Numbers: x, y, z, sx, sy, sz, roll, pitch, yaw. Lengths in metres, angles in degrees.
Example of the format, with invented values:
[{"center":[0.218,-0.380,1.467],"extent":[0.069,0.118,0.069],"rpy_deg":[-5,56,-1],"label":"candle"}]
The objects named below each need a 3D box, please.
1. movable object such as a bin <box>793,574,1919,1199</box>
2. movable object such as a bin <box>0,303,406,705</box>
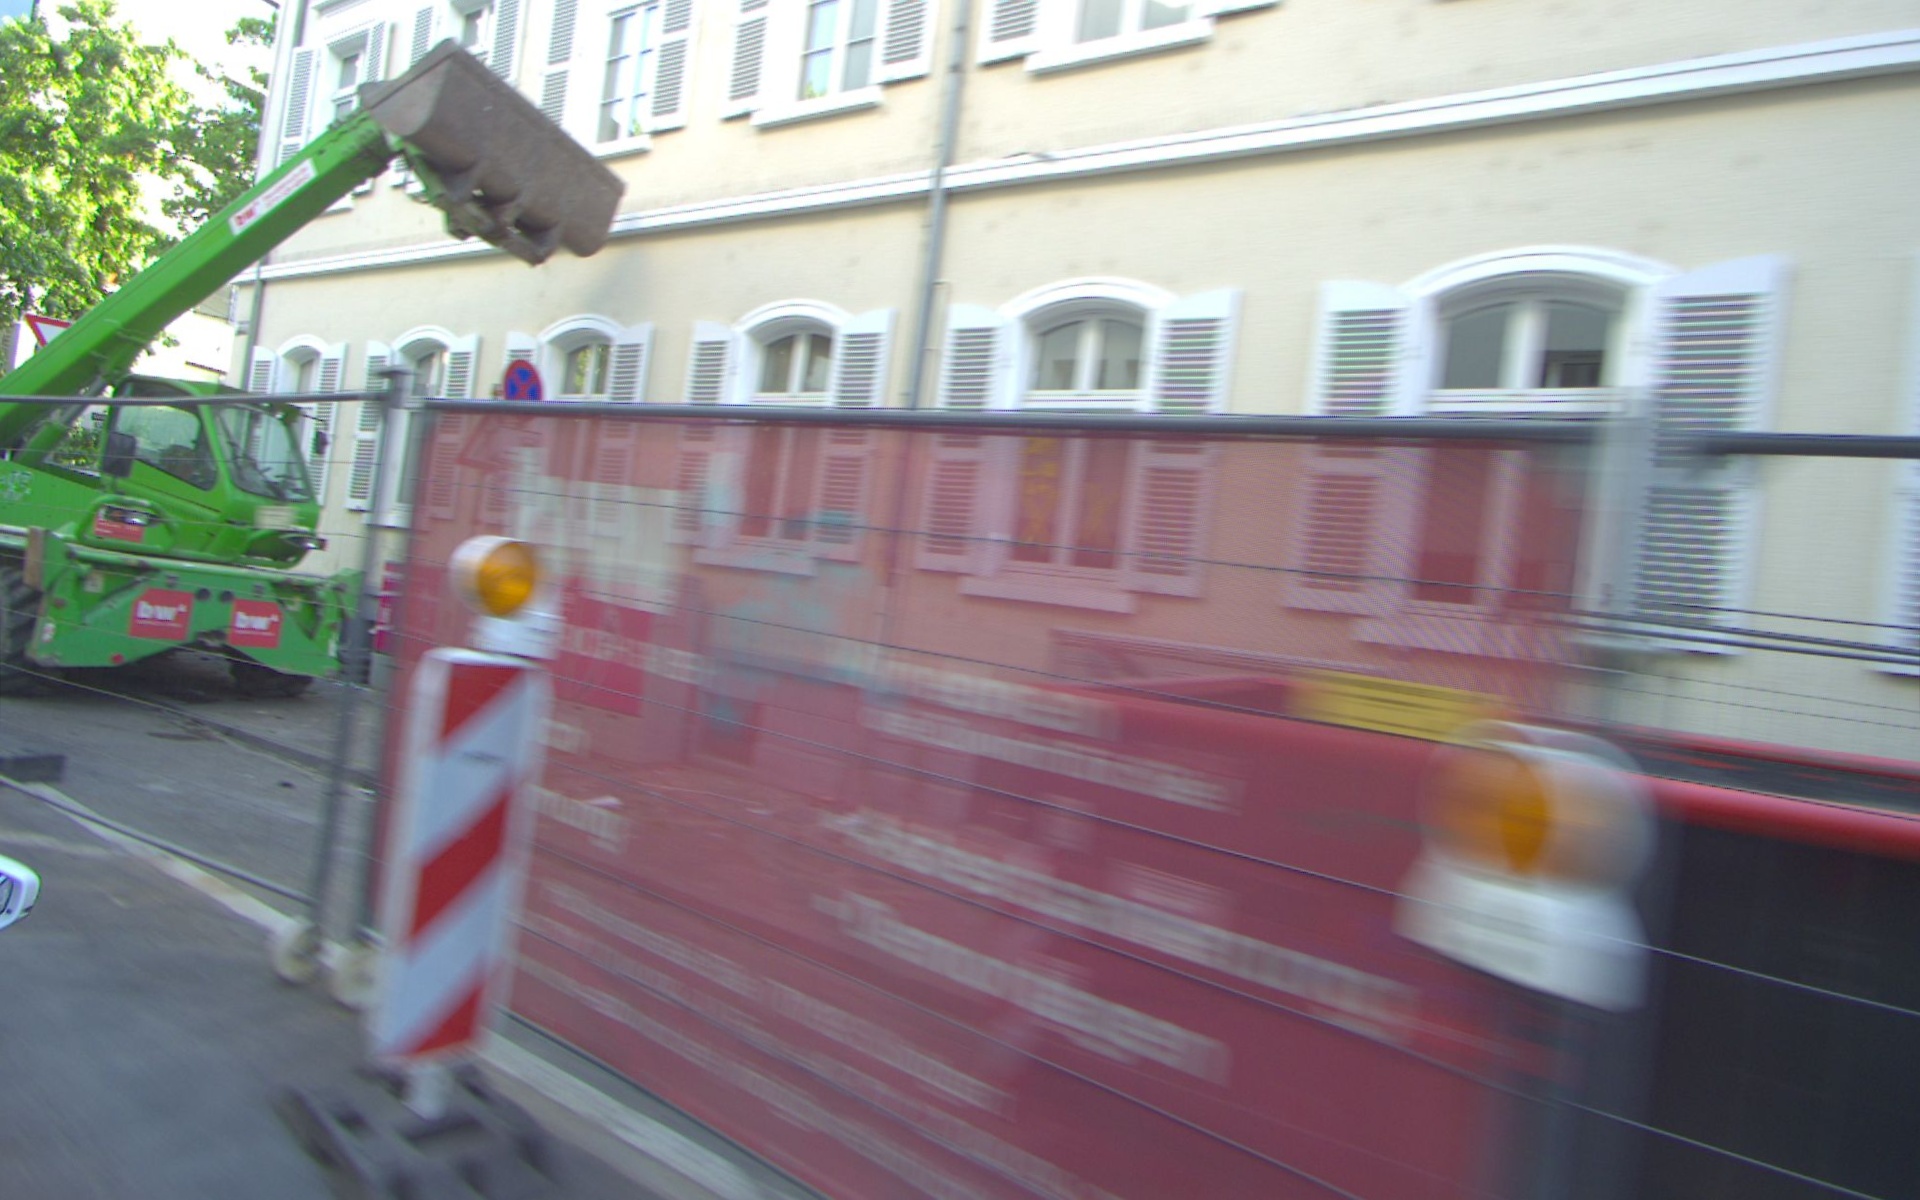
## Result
[{"center":[3.469,1.288,2.235],"extent":[7.425,1.656,2.743],"rpy_deg":[7,-3,31],"label":"movable object such as a bin"},{"center":[-7.861,-0.794,9.426],"extent":[4.376,2.873,2.609],"rpy_deg":[7,-1,32],"label":"movable object such as a bin"}]
